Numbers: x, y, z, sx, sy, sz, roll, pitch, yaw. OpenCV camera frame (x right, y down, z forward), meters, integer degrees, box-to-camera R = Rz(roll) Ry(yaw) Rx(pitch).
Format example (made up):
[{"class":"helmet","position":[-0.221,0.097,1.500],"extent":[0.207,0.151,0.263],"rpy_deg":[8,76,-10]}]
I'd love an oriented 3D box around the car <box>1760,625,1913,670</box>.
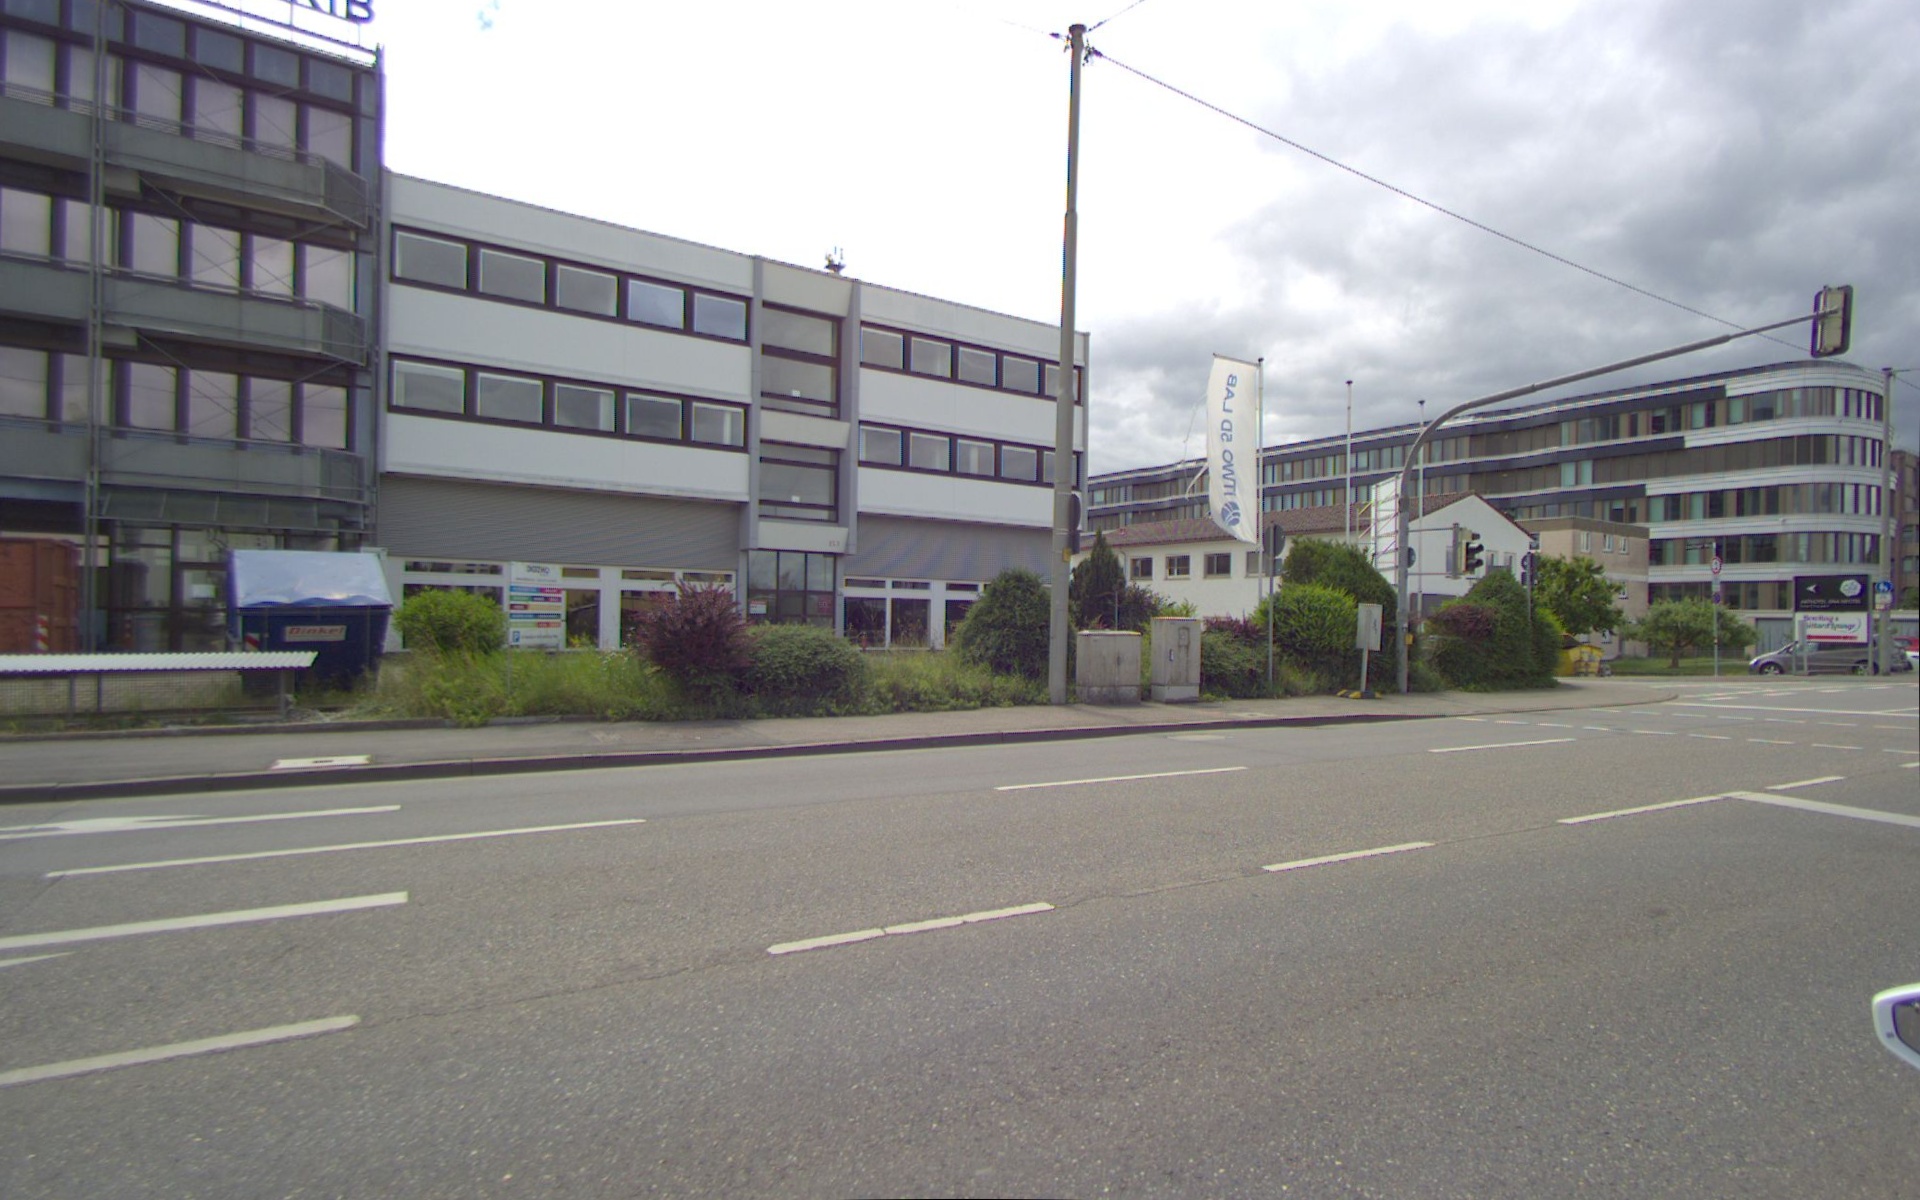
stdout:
[{"class":"car","position":[33.466,1.871,38.462],"extent":[1.835,1.442,3.968],"rpy_deg":[2,-7,-32]}]

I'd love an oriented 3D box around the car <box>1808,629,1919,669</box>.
[{"class":"car","position":[37.705,2.040,41.261],"extent":[1.828,1.387,3.968],"rpy_deg":[2,-7,-32]}]

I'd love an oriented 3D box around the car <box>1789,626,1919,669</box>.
[{"class":"car","position":[35.615,1.905,39.532],"extent":[1.965,1.404,4.198],"rpy_deg":[3,-7,-35]}]

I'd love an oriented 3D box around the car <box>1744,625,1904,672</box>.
[{"class":"car","position":[31.541,1.791,36.760],"extent":[1.890,1.415,4.066],"rpy_deg":[0,-6,-37]}]
